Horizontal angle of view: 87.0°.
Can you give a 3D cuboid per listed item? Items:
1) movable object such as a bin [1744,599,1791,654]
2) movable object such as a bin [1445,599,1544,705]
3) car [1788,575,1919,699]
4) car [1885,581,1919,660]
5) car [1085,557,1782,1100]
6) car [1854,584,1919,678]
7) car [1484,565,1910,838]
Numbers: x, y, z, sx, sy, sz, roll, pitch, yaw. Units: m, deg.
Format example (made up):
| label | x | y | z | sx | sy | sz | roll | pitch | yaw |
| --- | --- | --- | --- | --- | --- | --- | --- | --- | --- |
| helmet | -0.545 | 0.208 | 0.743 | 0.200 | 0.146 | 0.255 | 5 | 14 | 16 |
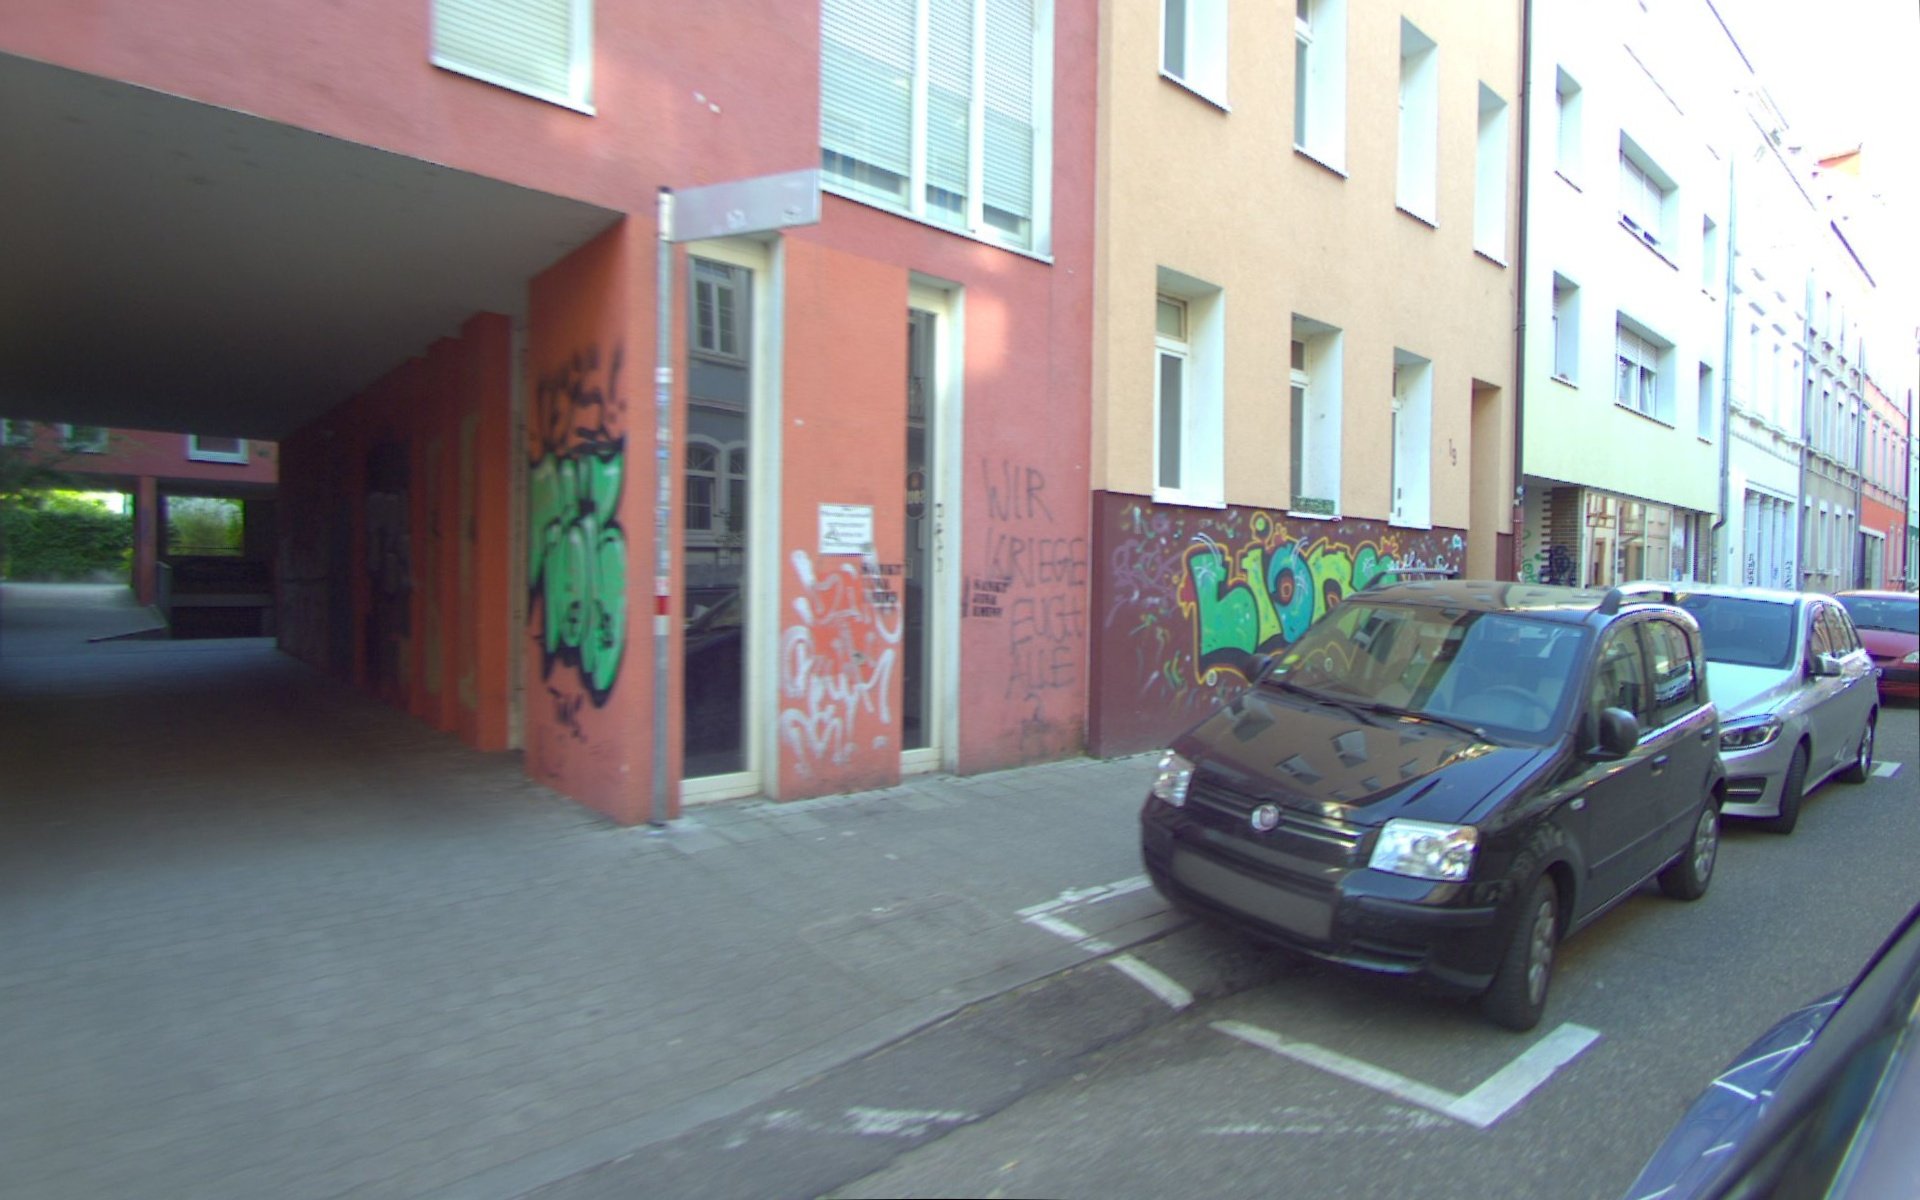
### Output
| label | x | y | z | sx | sy | sz | roll | pitch | yaw |
| --- | --- | --- | --- | --- | --- | --- | --- | --- | --- |
| movable object such as a bin | 16.997 | 0.550 | 21.313 | 0.547 | 1.112 | 0.665 | 0 | 1 | -39 |
| movable object such as a bin | 5.891 | 0.547 | 11.167 | 0.723 | 1.070 | 0.694 | 0 | 4 | -41 |
| car | 13.574 | 0.467 | 14.676 | 3.910 | 1.541 | 1.701 | 0 | 3 | -40 |
| car | 20.971 | 0.425 | 21.288 | 3.931 | 1.570 | 1.793 | 0 | 2 | -41 |
| car | 2.358 | 0.648 | 4.716 | 3.389 | 1.558 | 1.606 | -1 | 4 | -40 |
| car | 16.986 | 0.506 | 17.605 | 4.122 | 1.470 | 1.691 | -1 | 3 | -43 |
| car | 5.868 | 0.557 | 7.876 | 4.098 | 1.575 | 1.750 | 0 | 2 | -40 |
